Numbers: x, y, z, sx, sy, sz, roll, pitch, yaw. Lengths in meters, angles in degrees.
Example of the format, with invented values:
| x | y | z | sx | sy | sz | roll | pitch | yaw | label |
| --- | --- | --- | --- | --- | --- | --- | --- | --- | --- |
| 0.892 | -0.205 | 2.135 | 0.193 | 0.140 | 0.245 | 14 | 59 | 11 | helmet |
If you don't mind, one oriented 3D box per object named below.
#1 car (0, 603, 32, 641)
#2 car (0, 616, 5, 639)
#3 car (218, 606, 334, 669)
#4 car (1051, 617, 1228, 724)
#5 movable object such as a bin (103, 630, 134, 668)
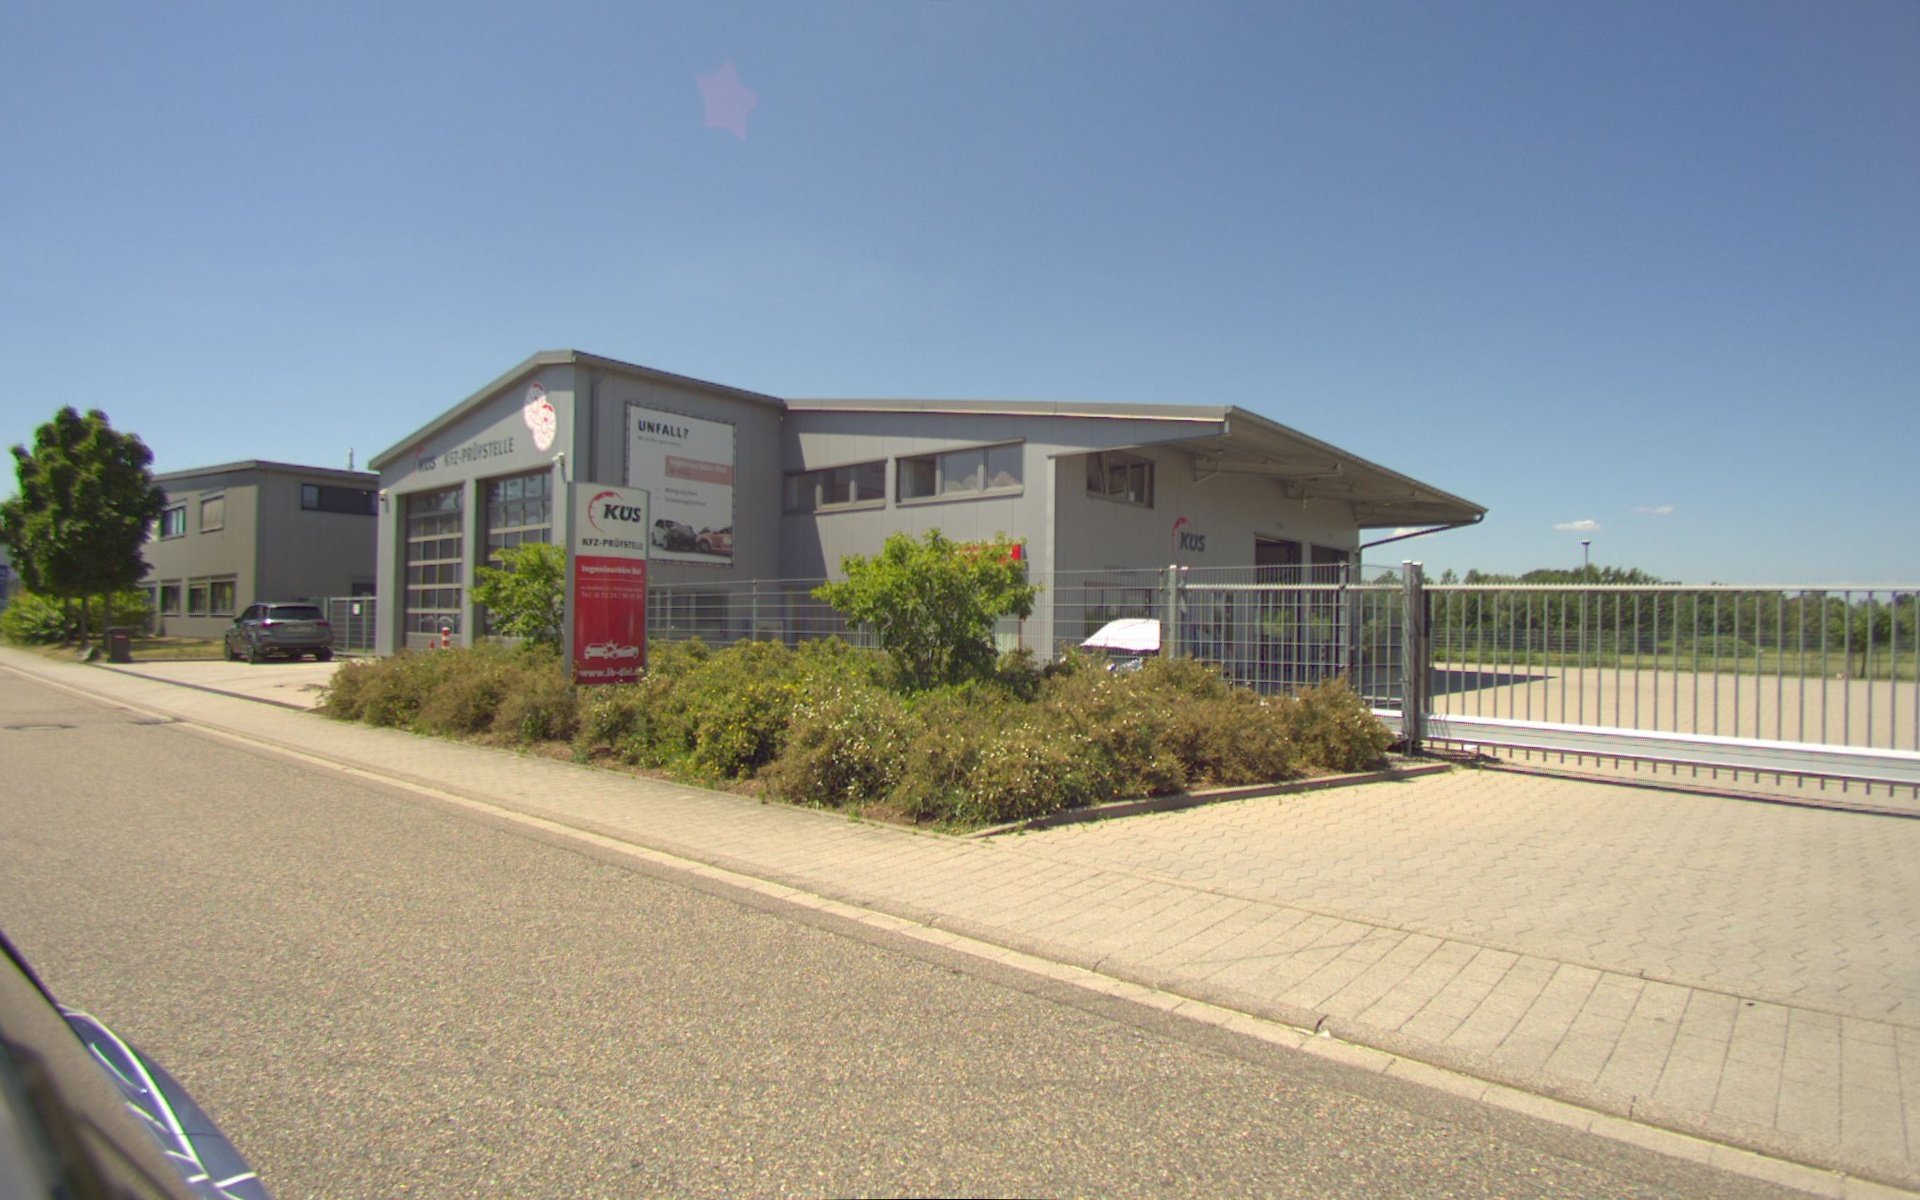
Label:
| x | y | z | sx | sy | sz | roll | pitch | yaw | label |
| --- | --- | --- | --- | --- | --- | --- | --- | --- | --- |
| -51.910 | 1.167 | 54.683 | 5.215 | 1.971 | 1.973 | 0 | -2 | 41 | car |
| -65.833 | 1.813 | 67.666 | 1.534 | 1.529 | 2.713 | -1 | -2 | 40 | car |
| -20.590 | 1.091 | 30.364 | 4.915 | 1.749 | 1.971 | -2 | -2 | 45 | car |
| 3.051 | 1.093 | 16.717 | 1.555 | 1.564 | 3.469 | -1 | -2 | 36 | car |
| -24.519 | 1.426 | 29.499 | 0.765 | 1.074 | 0.573 | -1 | 0 | 40 | movable object such as a bin |
